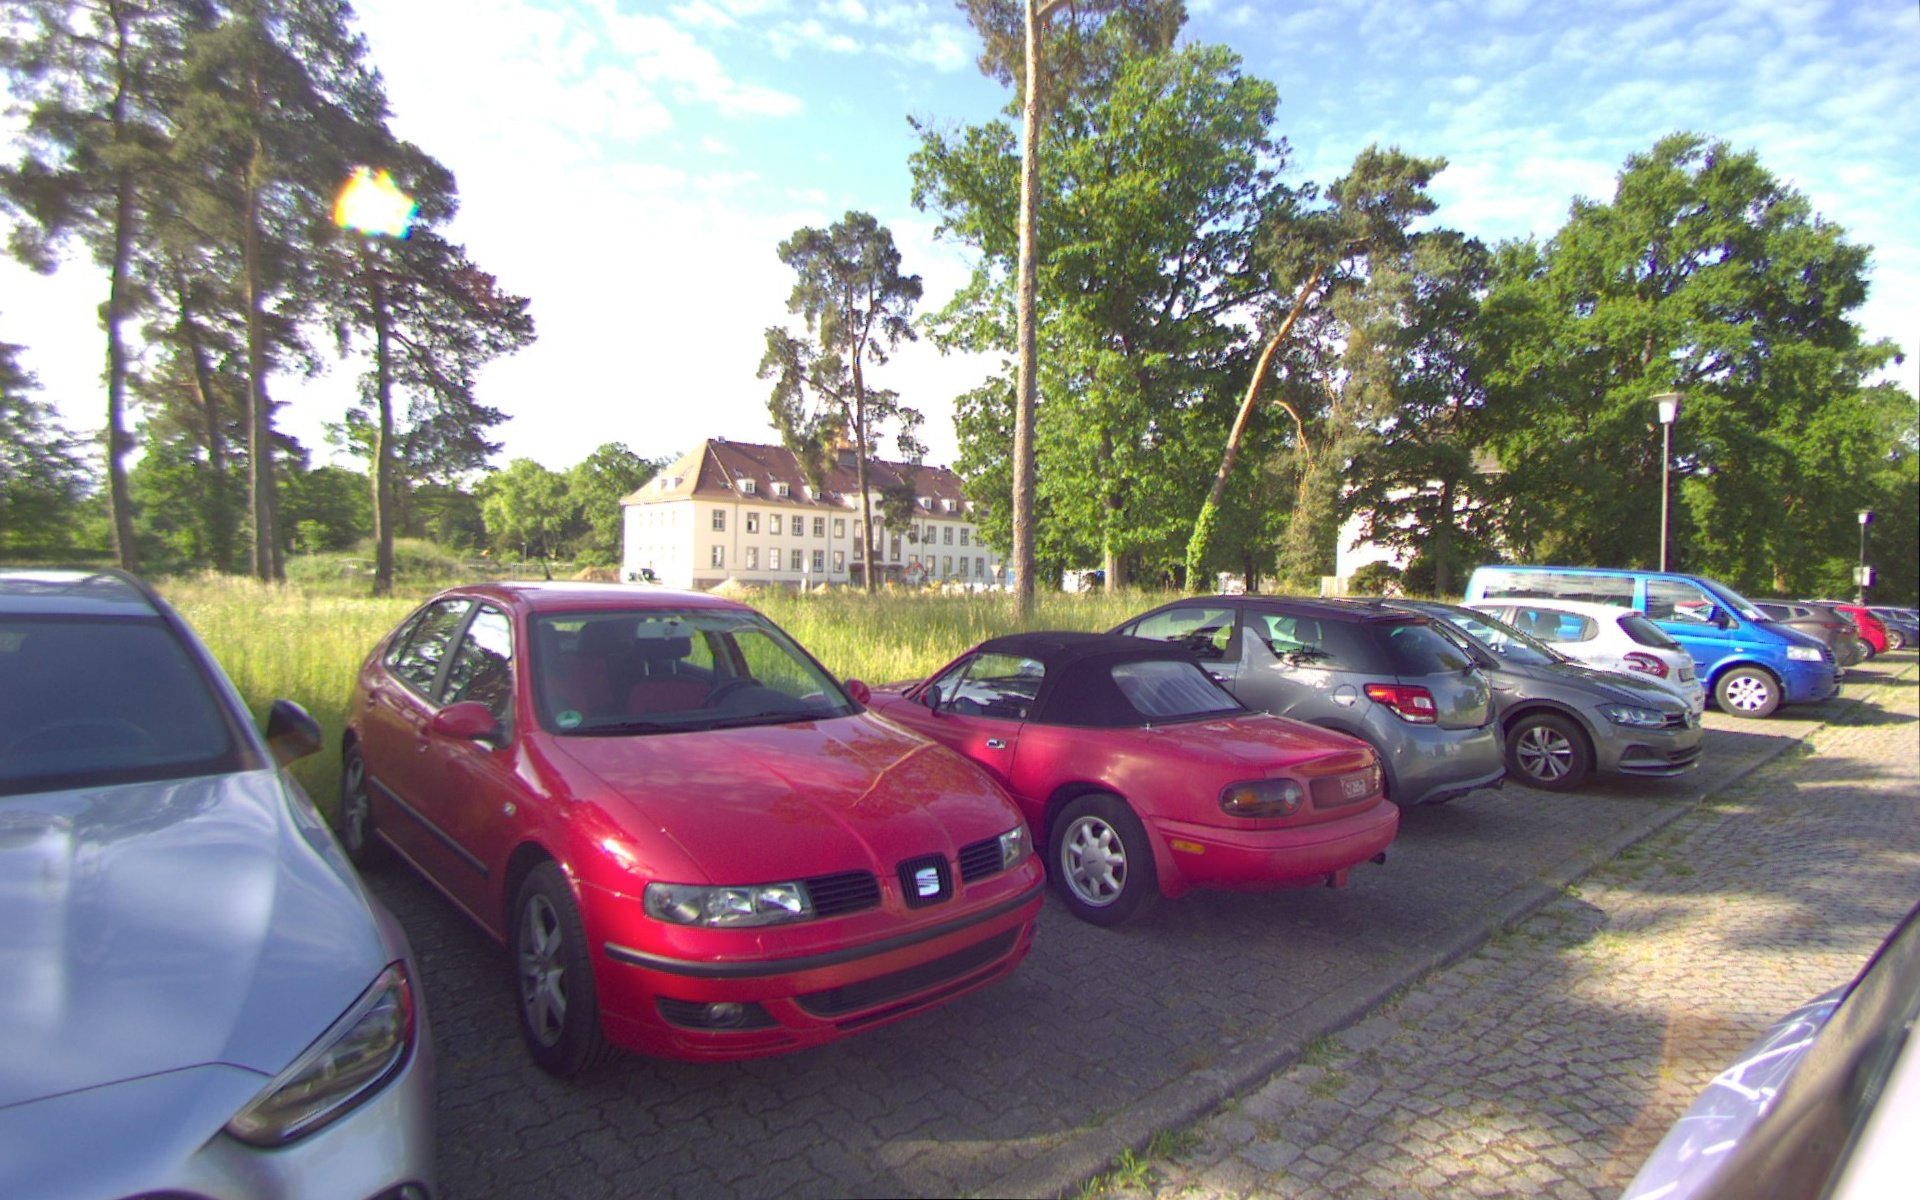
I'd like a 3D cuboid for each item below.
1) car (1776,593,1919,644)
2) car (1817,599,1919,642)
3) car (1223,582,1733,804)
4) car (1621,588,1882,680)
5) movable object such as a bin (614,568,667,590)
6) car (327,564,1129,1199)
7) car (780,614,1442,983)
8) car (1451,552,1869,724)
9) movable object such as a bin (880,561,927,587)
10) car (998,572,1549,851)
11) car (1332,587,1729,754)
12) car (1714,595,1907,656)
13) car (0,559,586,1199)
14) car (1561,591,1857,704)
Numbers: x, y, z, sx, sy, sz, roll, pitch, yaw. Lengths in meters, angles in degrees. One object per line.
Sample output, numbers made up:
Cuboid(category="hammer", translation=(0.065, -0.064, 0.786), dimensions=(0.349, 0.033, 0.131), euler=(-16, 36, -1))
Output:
Cuboid(category="car", translation=(31.179, 0.619, 35.145), dimensions=(1.623, 1.618, 4.267), euler=(0, 1, -43))
Cuboid(category="car", translation=(34.836, 0.751, 38.028), dimensions=(1.717, 1.484, 3.806), euler=(0, 1, -42))
Cuboid(category="car", translation=(4.560, 0.653, 9.335), dimensions=(1.727, 1.468, 3.788), euler=(0, 3, -41))
Cuboid(category="car", translation=(16.502, 0.632, 21.248), dimensions=(1.757, 1.631, 4.111), euler=(0, 2, -44))
Cuboid(category="movable object such as a bin", translation=(-31.541, -2.065, 99.910), dimensions=(5.707, 2.038, 2.094), euler=(2, 1, 38))
Cuboid(category="car", translation=(-1.376, 0.630, 4.426), dimensions=(1.628, 1.466, 3.984), euler=(0, 2, -43))
Cuboid(category="car", translation=(0.586, 0.773, 5.616), dimensions=(1.510, 1.258, 3.465), euler=(0, 1, -42))
Cuboid(category="car", translation=(10.273, 0.402, 15.187), dimensions=(1.966, 2.038, 4.762), euler=(0, 3, -42))
Cuboid(category="movable object such as a bin", translation=(-6.506, -2.988, 116.679), dimensions=(4.977, 2.937, 2.180), euler=(0, 1, -36))
Cuboid(category="car", translation=(2.182, 0.610, 7.754), dimensions=(1.638, 1.472, 3.669), euler=(0, 3, -43))
Cuboid(category="car", translation=(6.391, 0.660, 11.624), dimensions=(1.606, 1.510, 3.650), euler=(0, 2, -42))
Cuboid(category="car", translation=(23.708, 0.656, 28.326), dimensions=(1.514, 1.514, 3.991), euler=(0, 1, -43))
Cuboid(category="car", translation=(-2.814, 0.638, 2.758), dimensions=(1.759, 1.405, 4.404), euler=(0, 3, -44))
Cuboid(category="car", translation=(12.308, 0.687, 16.783), dimensions=(1.583, 1.485, 3.723), euler=(0, 3, -45))
